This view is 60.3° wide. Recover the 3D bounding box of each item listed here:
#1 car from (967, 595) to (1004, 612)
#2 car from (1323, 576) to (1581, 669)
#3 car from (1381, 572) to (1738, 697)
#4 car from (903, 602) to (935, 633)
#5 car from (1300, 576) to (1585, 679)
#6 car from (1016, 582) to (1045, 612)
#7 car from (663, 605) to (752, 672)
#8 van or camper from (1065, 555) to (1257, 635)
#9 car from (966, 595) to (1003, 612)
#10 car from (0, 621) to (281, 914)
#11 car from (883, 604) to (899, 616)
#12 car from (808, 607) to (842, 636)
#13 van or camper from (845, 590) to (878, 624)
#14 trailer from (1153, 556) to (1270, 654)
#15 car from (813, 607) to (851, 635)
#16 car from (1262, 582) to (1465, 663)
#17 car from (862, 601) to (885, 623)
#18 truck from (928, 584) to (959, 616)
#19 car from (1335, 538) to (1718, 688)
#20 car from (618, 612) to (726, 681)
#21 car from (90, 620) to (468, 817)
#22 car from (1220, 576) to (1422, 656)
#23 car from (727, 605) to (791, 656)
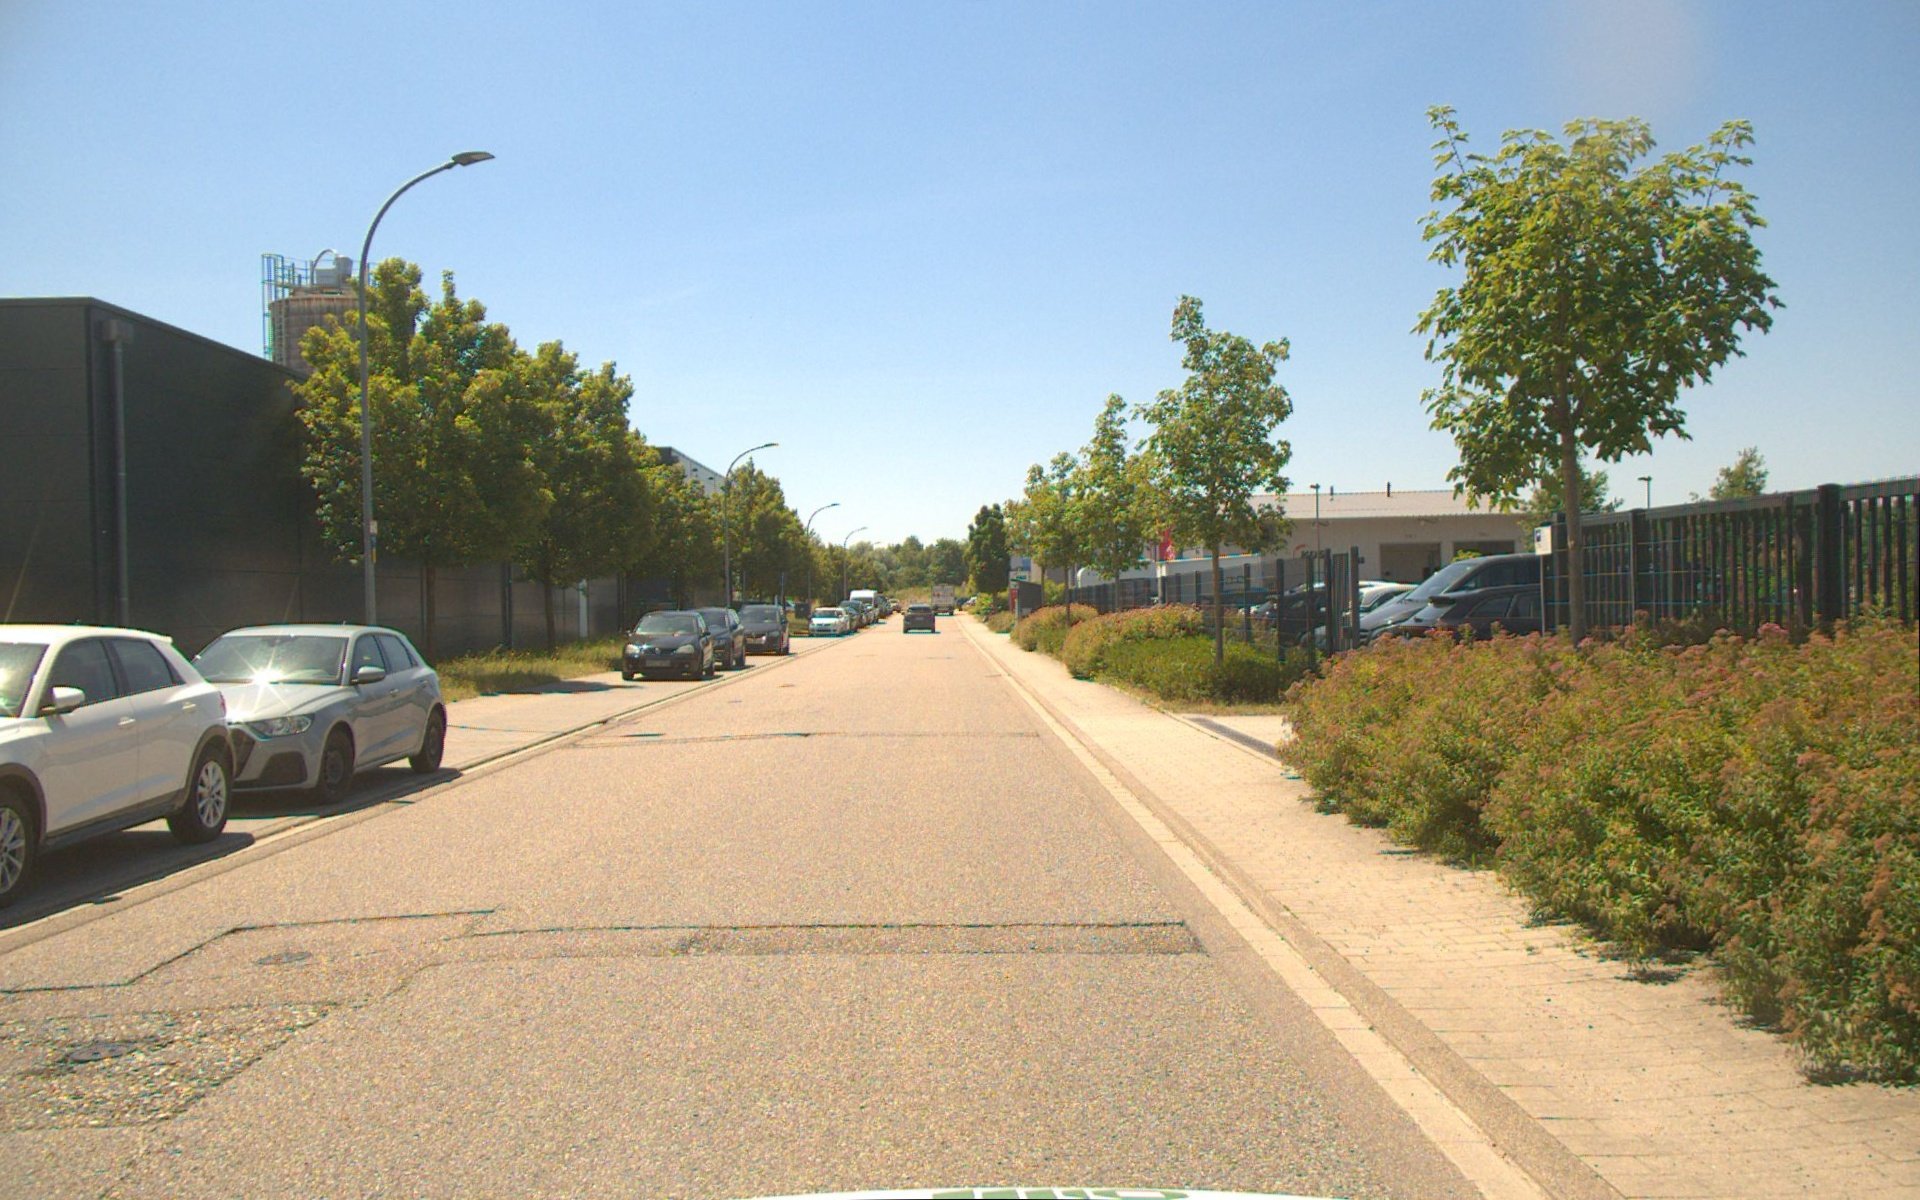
[{"bbox_3d":[2.660,0.371,175.379,3.798,1.780,1.750,1,0,-3],"label":"car"},{"bbox_3d":[9.008,0.399,30.496,4.193,1.470,1.754,-3,0,-2],"label":"car"},{"bbox_3d":[7.976,0.445,22.246,4.130,1.447,1.764,-2,0,-2],"label":"car"},{"bbox_3d":[-2.295,0.973,92.794,1.753,1.652,3.808,1,0,-1],"label":"car"},{"bbox_3d":[8.036,0.448,27.746,4.257,1.474,1.602,-3,0,-2],"label":"car"},{"bbox_3d":[4.676,-0.197,110.046,1.748,1.814,4.905,-3,-1,1],"label":"car"},{"bbox_3d":[-6.558,0.961,43.407,1.735,1.640,4.850,-1,0,-2],"label":"car"},{"bbox_3d":[7.303,-0.175,60.659,6.621,2.630,2.635,-2,0,-2],"label":"van or camper"},{"bbox_3d":[2.616,0.381,177.979,3.798,1.780,1.750,1,0,-3],"label":"car"},{"bbox_3d":[-5.775,0.882,9.880,1.735,1.456,4.200,0,0,-1],"label":"car"},{"bbox_3d":[-8.562,1.248,206.077,1.762,1.513,4.253,-1,0,1],"label":"car"},{"bbox_3d":[-7.121,1.117,87.421,1.686,1.502,3.855,-1,0,-3],"label":"car"},{"bbox_3d":[-7.618,0.522,128.605,2.035,2.526,6.131,1,0,1],"label":"van or camper"},{"bbox_3d":[6.717,0.131,44.328,2.767,2.445,1.418,-3,0,-5],"label":"trailer"},{"bbox_3d":[-7.134,1.138,92.683,1.762,1.502,4.554,-1,0,0],"label":"car"},{"bbox_3d":[7.978,0.443,32.918,3.591,1.447,1.644,-2,0,-2],"label":"car"},{"bbox_3d":[-7.760,1.053,148.890,1.762,1.881,4.253,-1,0,1],"label":"car"},{"bbox_3d":[-1.593,0.004,160.029,2.873,3.026,6.418,1,0,0],"label":"truck"},{"bbox_3d":[8.372,0.189,24.754,5.011,1.906,1.902,-3,0,-2],"label":"car"},{"bbox_3d":[-6.414,1.003,37.294,1.735,1.456,4.200,0,0,-1],"label":"car"},{"bbox_3d":[-5.794,0.930,14.621,1.735,1.456,3.939,0,0,-1],"label":"car"},{"bbox_3d":[7.752,0.339,35.771,3.906,1.548,1.822,-2,0,-2],"label":"car"},{"bbox_3d":[-6.723,0.991,55.615,1.735,1.640,4.245,-1,0,-2],"label":"car"}]
